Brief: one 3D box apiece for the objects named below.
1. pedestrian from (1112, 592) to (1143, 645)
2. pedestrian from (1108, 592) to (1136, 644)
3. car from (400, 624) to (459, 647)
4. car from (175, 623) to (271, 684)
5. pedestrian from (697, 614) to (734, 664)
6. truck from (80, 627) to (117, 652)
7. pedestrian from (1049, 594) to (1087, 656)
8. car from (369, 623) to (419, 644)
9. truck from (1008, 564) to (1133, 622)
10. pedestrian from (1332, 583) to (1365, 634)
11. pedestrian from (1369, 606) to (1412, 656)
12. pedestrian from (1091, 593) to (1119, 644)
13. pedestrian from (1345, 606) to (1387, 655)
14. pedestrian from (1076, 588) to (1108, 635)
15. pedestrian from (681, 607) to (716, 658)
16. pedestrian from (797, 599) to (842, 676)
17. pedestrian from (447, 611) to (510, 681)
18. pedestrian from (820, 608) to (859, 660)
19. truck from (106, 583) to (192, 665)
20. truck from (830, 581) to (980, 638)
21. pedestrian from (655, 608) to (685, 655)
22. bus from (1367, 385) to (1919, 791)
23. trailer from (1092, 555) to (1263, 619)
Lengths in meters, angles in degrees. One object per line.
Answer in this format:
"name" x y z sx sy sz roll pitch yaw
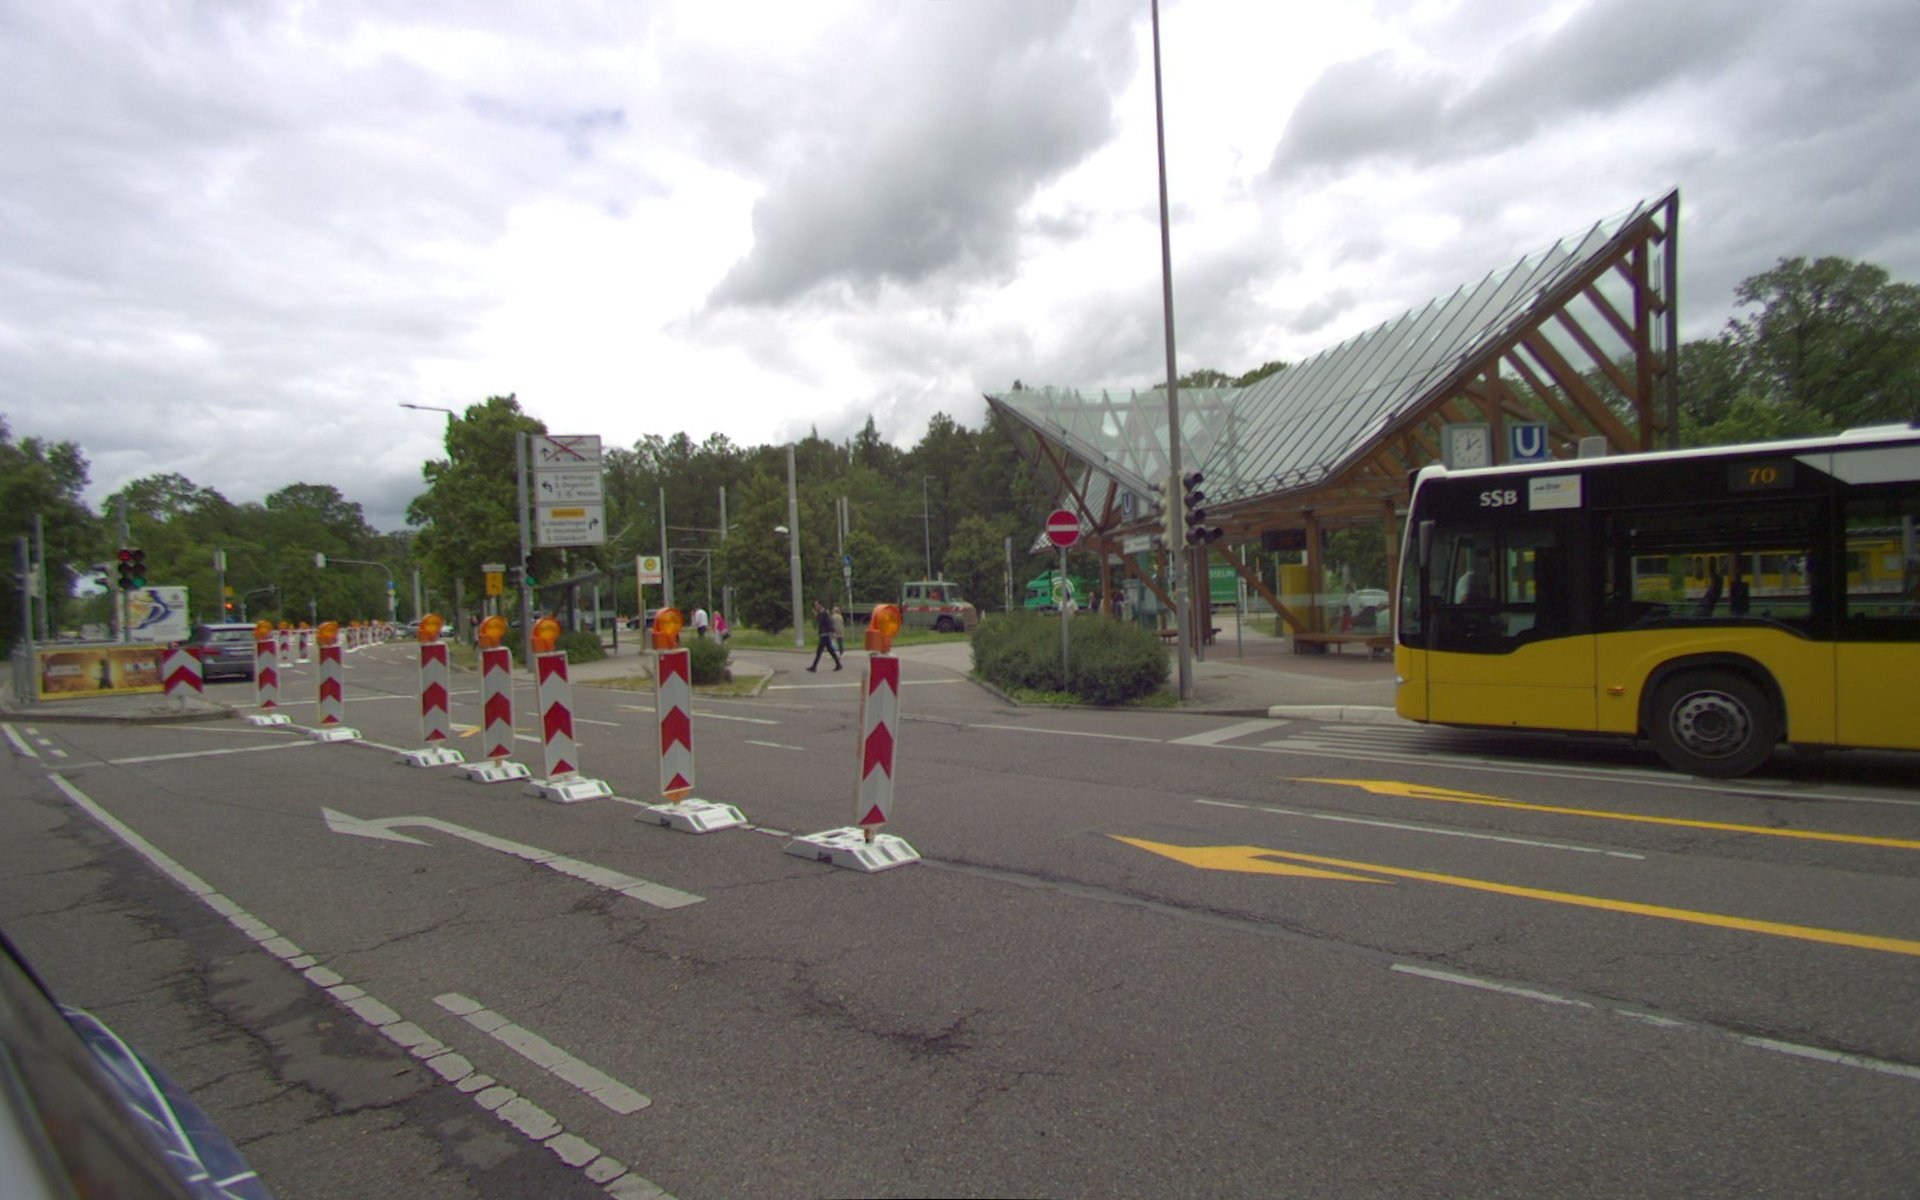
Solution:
"pedestrian" 5.374 0.583 32.428 0.663 1.637 0.585 -3 0 -34
"pedestrian" 5.279 0.589 33.067 0.663 1.637 0.585 -3 0 -10
"car" -43.963 2.964 83.896 3.943 1.652 1.891 -3 0 13
"car" -20.248 1.396 27.728 1.785 1.520 4.314 0 -1 -41
"pedestrian" -7.975 1.265 32.952 0.773 1.563 0.783 -3 0 33
"truck" -120.631 5.432 141.762 2.702 3.235 6.693 -3 0 -31
"pedestrian" 2.891 0.679 27.066 0.675 1.608 0.664 -3 0 42
"car" -52.832 3.123 94.536 3.754 1.735 1.852 -3 0 13
"truck" 8.480 -0.516 77.670 8.708 3.910 3.762 -3 0 21
"pedestrian" 10.016 0.208 26.096 0.386 1.278 0.768 -3 0 -11
"pedestrian" 8.832 0.629 20.767 0.548 0.991 0.567 -3 0 -33
"pedestrian" 4.855 0.611 33.895 0.663 1.637 0.585 -3 0 -10
"pedestrian" 8.514 0.639 21.246 0.540 0.991 0.567 -3 0 -34
"pedestrian" 4.805 0.414 36.903 0.773 1.637 0.770 -3 0 -44
"pedestrian" -8.942 1.114 34.639 0.864 1.678 0.681 -3 0 19
"pedestrian" -3.482 0.908 25.117 0.979 1.822 0.768 -3 0 -10
"pedestrian" -12.040 1.147 25.322 0.905 1.689 1.086 -2 -1 21
"pedestrian" -3.723 1.061 31.233 0.757 1.536 0.876 -3 0 -45
"truck" -35.105 1.044 43.727 2.597 3.263 6.214 1 -2 -42
"truck" -2.492 0.423 45.961 6.258 2.186 2.589 -3 0 22
"pedestrian" -10.038 1.083 35.026 0.764 1.557 0.630 -3 2 -38
"bus" 8.922 -0.124 8.506 9.749 3.150 2.870 -2 -1 39
"trailer" 15.991 -0.928 74.697 11.783 3.910 3.762 -3 0 21
